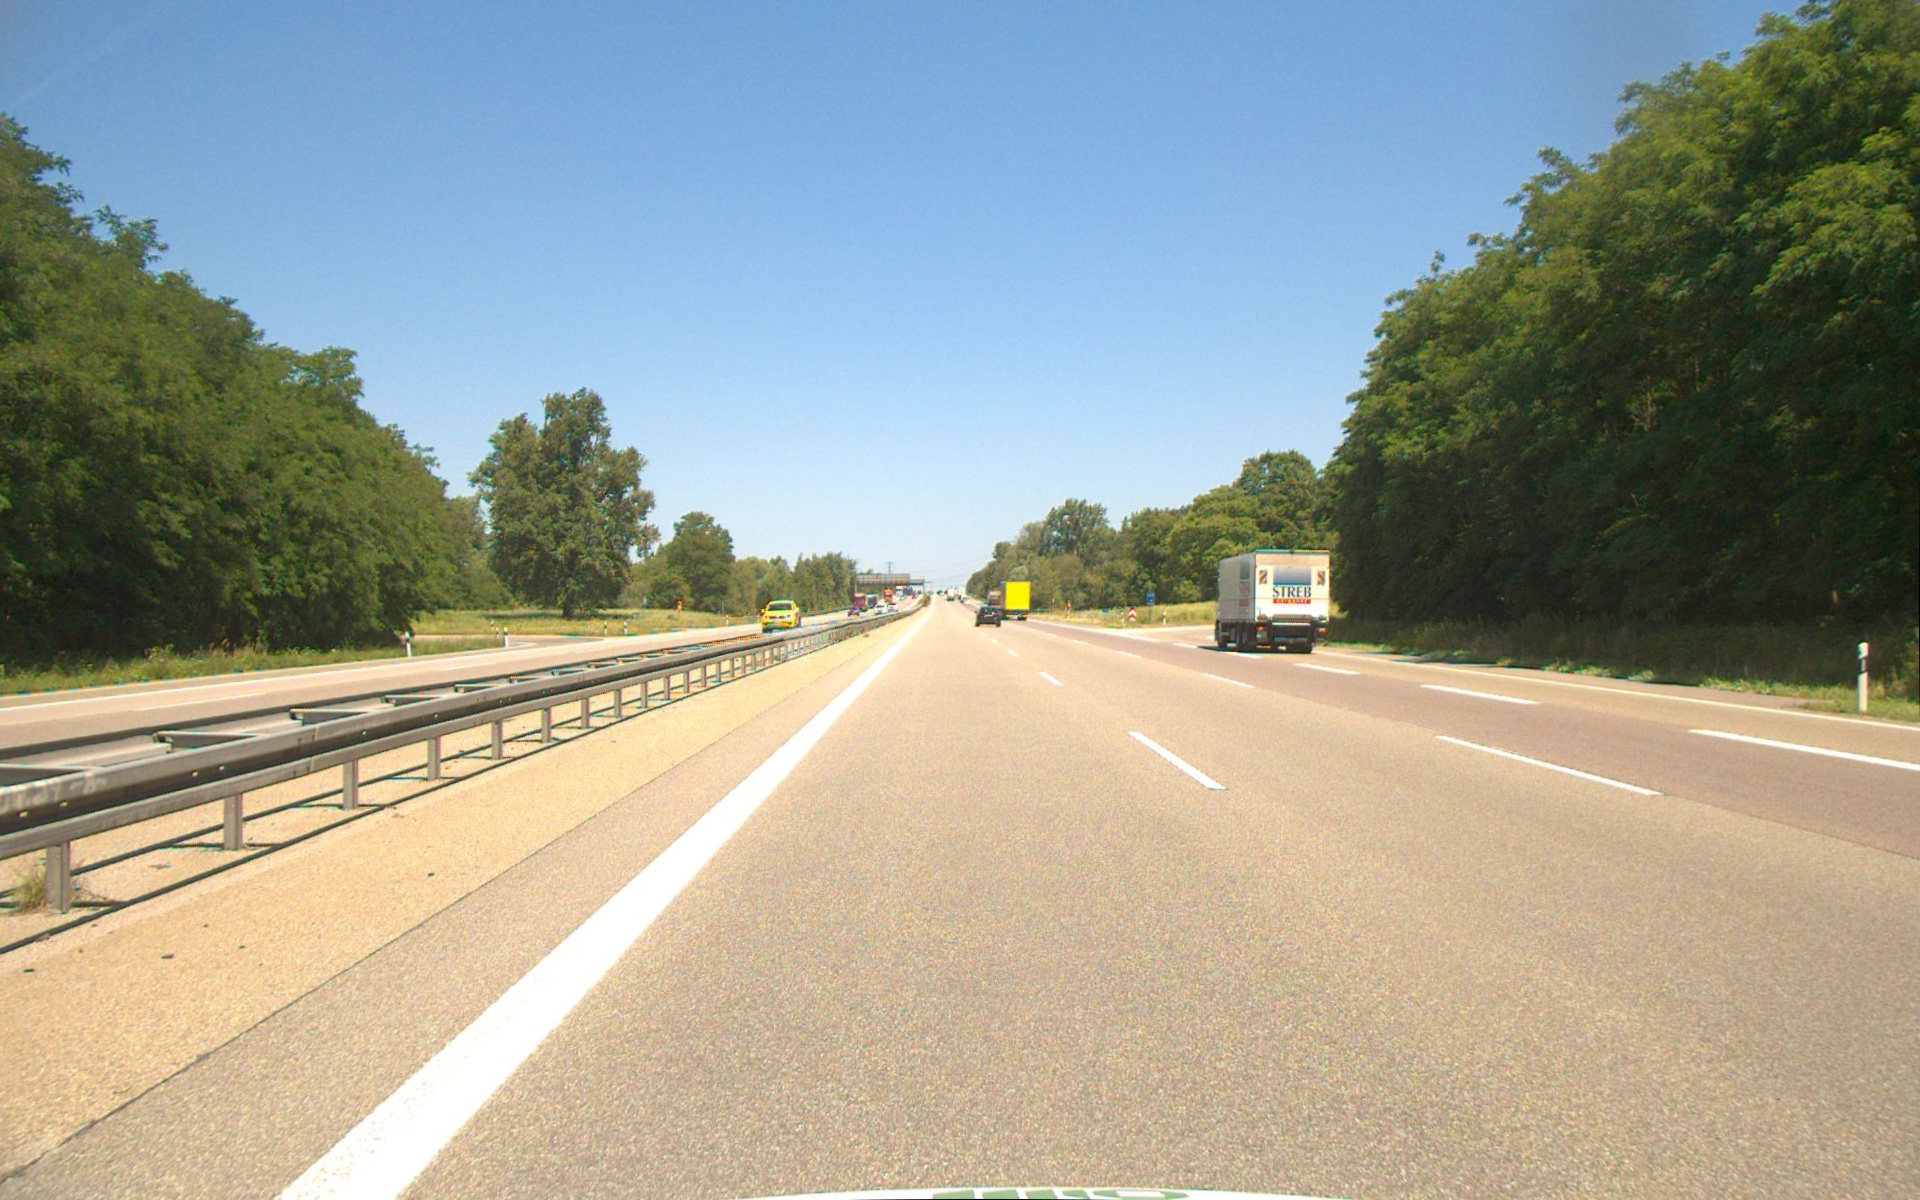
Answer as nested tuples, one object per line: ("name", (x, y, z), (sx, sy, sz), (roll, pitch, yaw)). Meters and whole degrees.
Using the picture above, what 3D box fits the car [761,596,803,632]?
("car", (-10.420, 0.821, 96.921), (1.953, 1.998, 5.210), (1, 0, -1))

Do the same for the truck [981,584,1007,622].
("truck", (4.646, 0.432, 227.482), (3.298, 4.966, 15.085), (1, 0, 0))

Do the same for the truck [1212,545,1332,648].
("truck", (11.212, -0.094, 60.456), (2.965, 3.377, 10.775), (1, 0, 3))

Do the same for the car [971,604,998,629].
("car", (1.753, 1.156, 118.705), (1.790, 1.736, 3.999), (1, 0, -1))

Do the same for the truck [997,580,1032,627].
("truck", (5.906, 0.430, 182.136), (3.308, 4.966, 15.085), (1, 0, 0))

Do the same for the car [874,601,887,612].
("car", (-12.267, 1.011, 255.565), (1.726, 1.722, 4.818), (-1, 0, -1))
